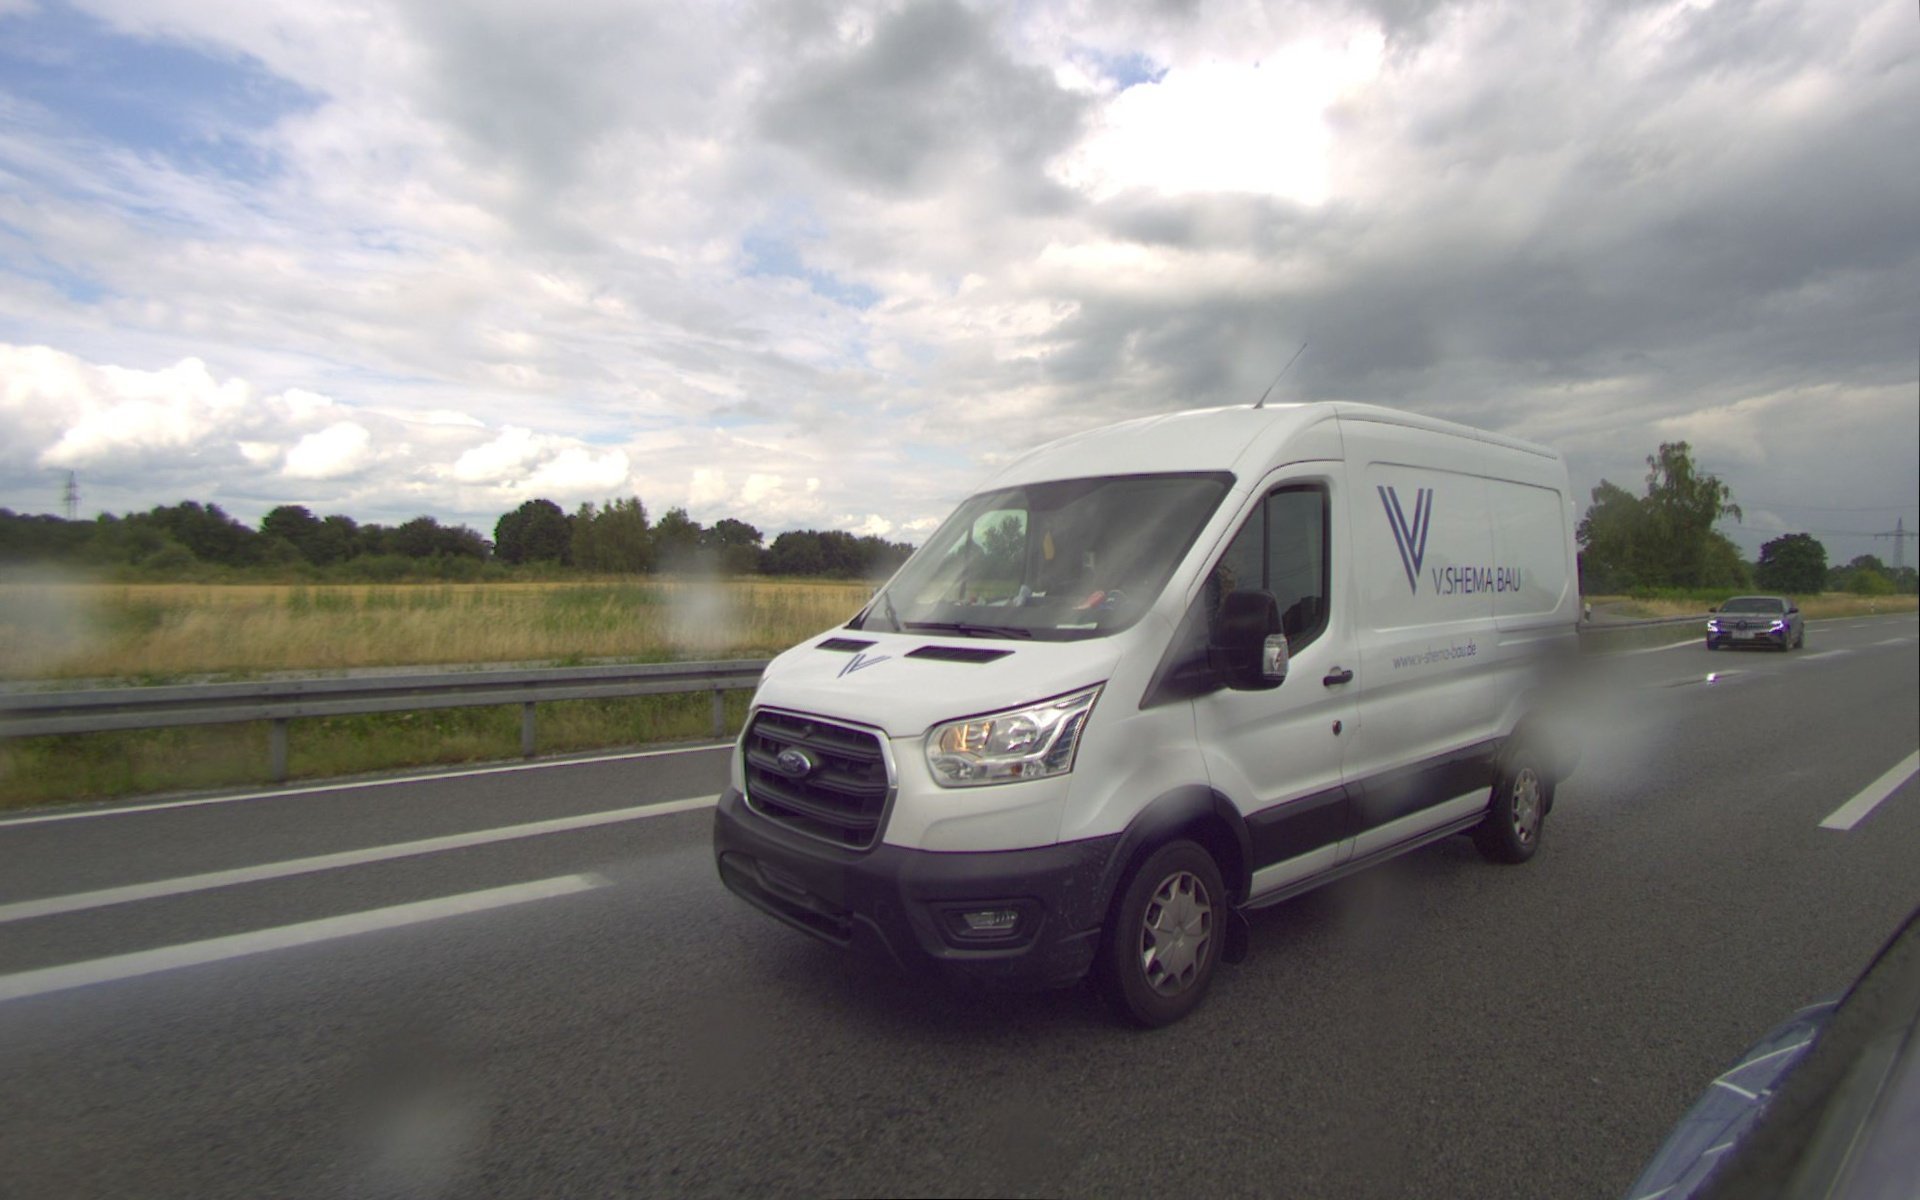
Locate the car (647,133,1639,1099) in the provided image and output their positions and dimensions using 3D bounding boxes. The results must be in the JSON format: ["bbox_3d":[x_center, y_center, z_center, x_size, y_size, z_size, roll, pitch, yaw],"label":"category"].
[{"bbox_3d":[1.387,0.008,5.216,5.352,2.532,2.144,-1,1,-40],"label":"car"}]

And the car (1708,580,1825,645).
[{"bbox_3d":[22.927,0.305,28.717,4.553,1.662,1.996,0,1,-44],"label":"car"}]
